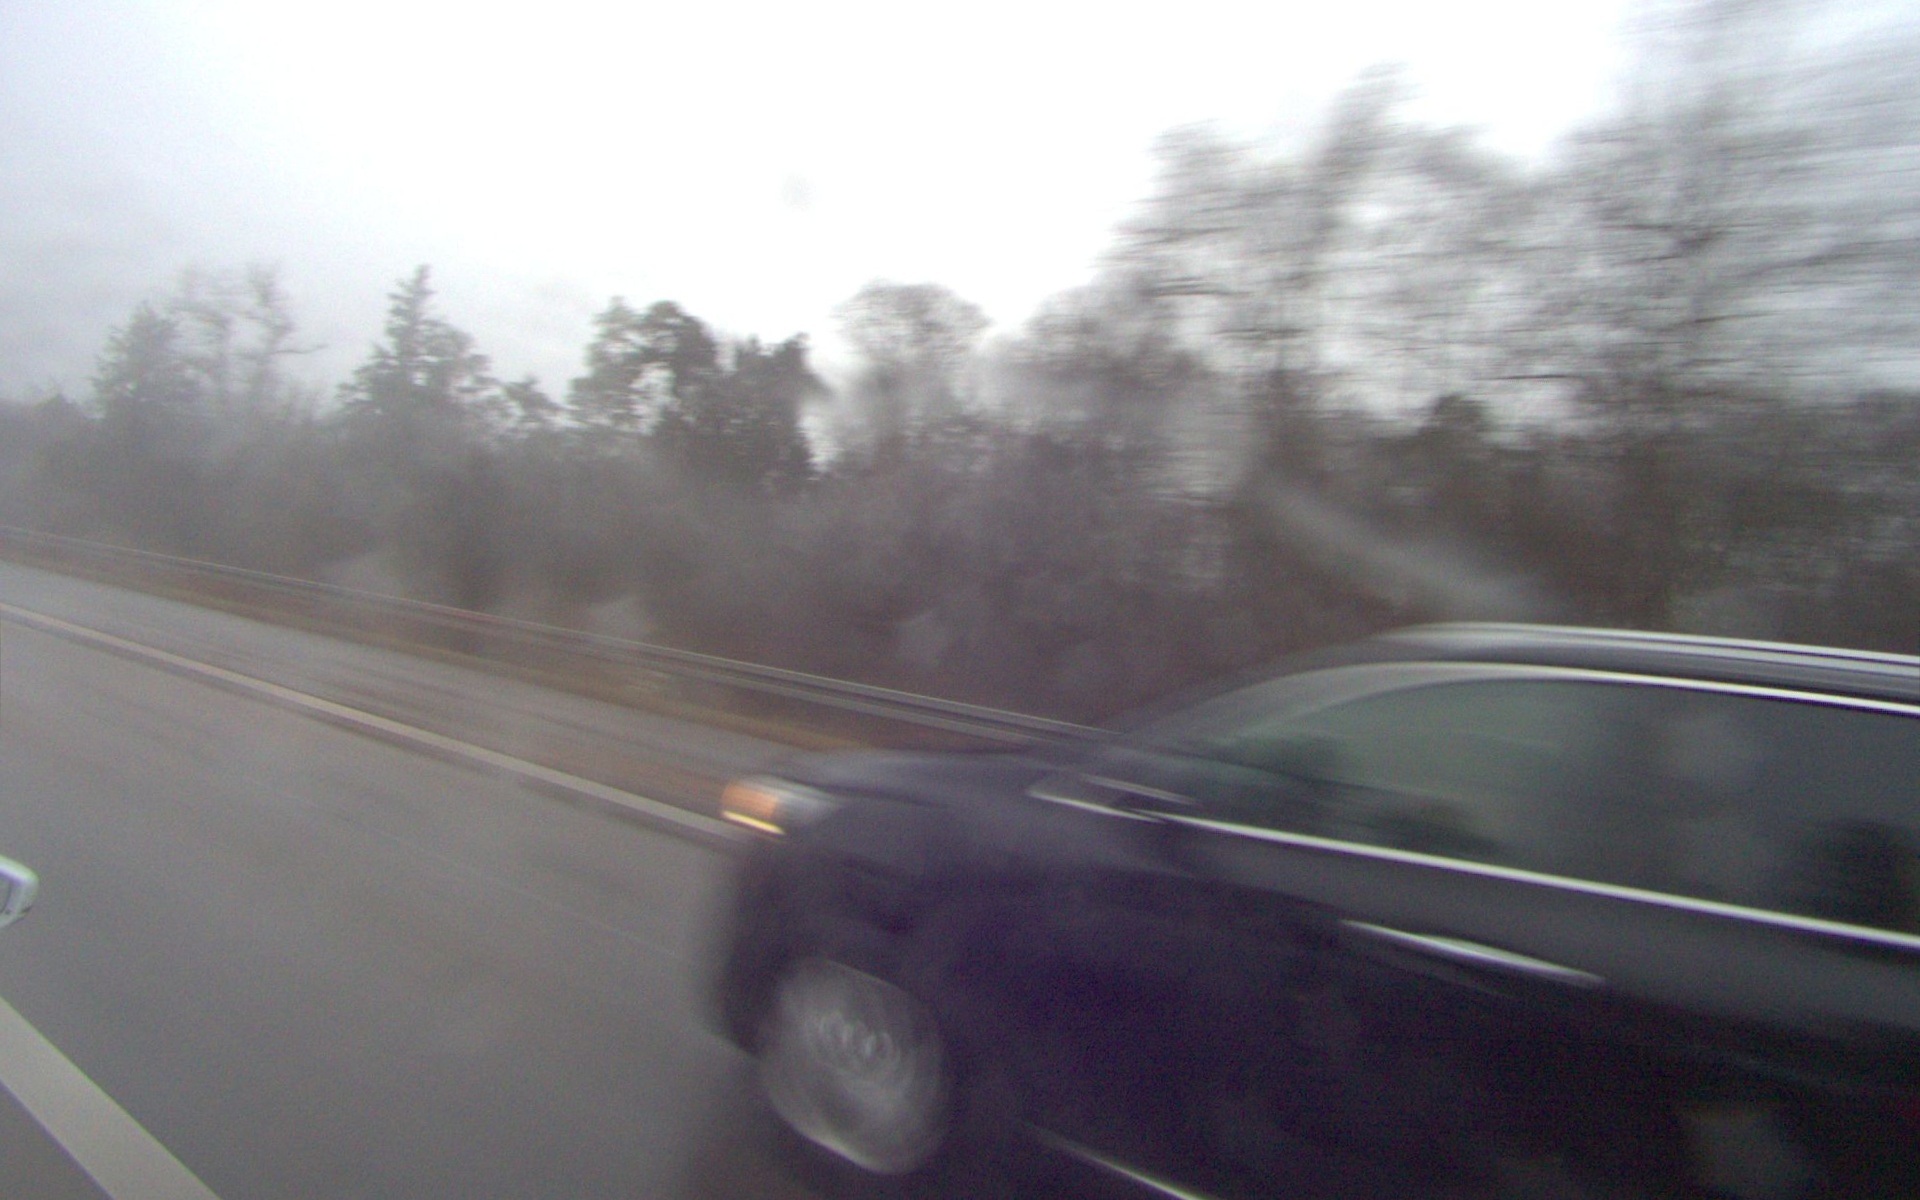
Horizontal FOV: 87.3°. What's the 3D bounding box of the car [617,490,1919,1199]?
[{"bbox_3d":[1.536,0.867,2.567,4.386,1.717,2.075,7,-1,31],"label":"car"}]
